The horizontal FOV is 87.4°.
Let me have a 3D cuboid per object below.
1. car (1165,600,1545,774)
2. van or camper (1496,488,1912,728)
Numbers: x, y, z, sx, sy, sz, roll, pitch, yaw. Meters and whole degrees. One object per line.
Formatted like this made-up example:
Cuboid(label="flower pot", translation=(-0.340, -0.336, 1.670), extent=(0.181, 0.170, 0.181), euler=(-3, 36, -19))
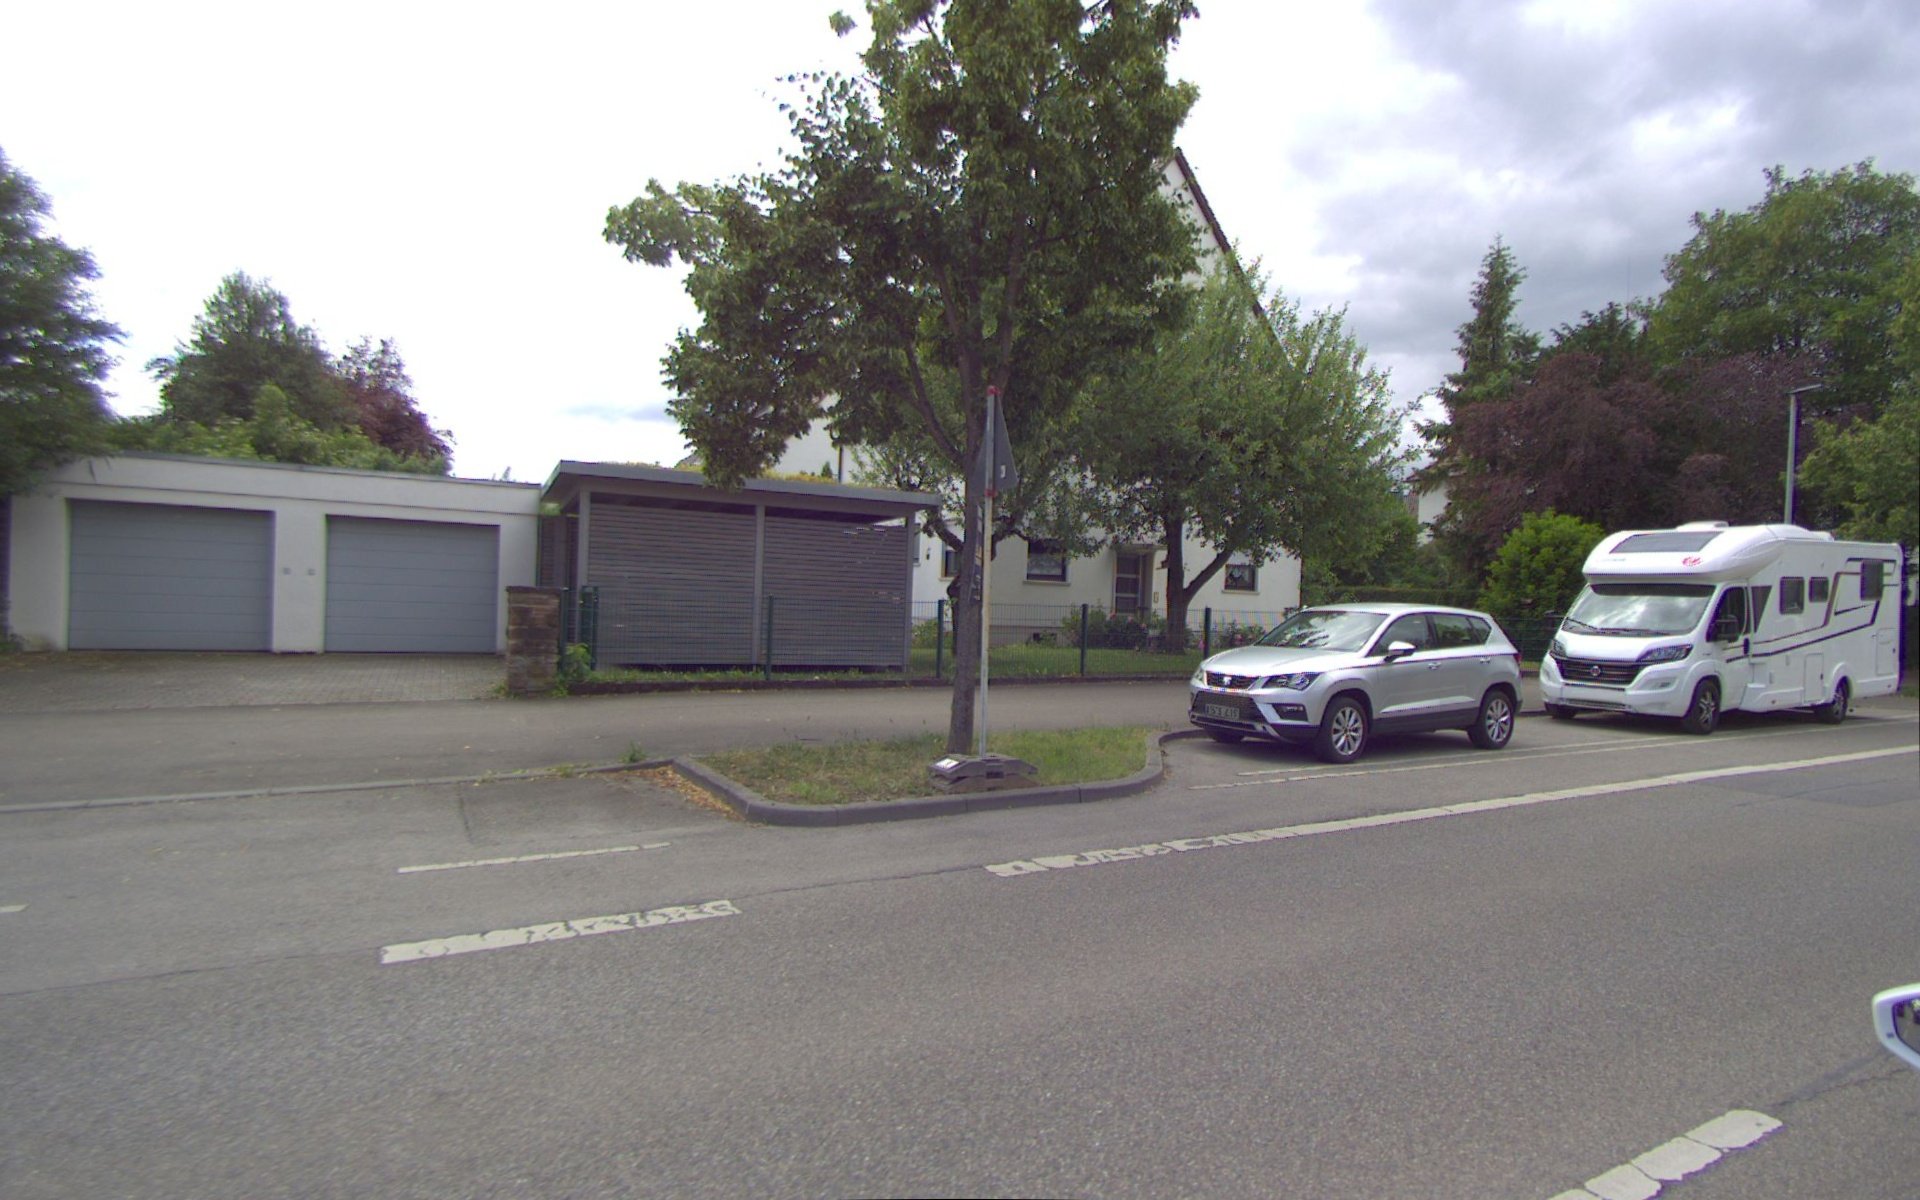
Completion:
Cuboid(label="car", translation=(4.502, 0.872, 11.310), extent=(4.221, 1.622, 1.714), euler=(2, 0, -30))
Cuboid(label="van or camper", translation=(11.838, 0.187, 15.736), extent=(7.602, 3.049, 2.423), euler=(2, 0, -30))
